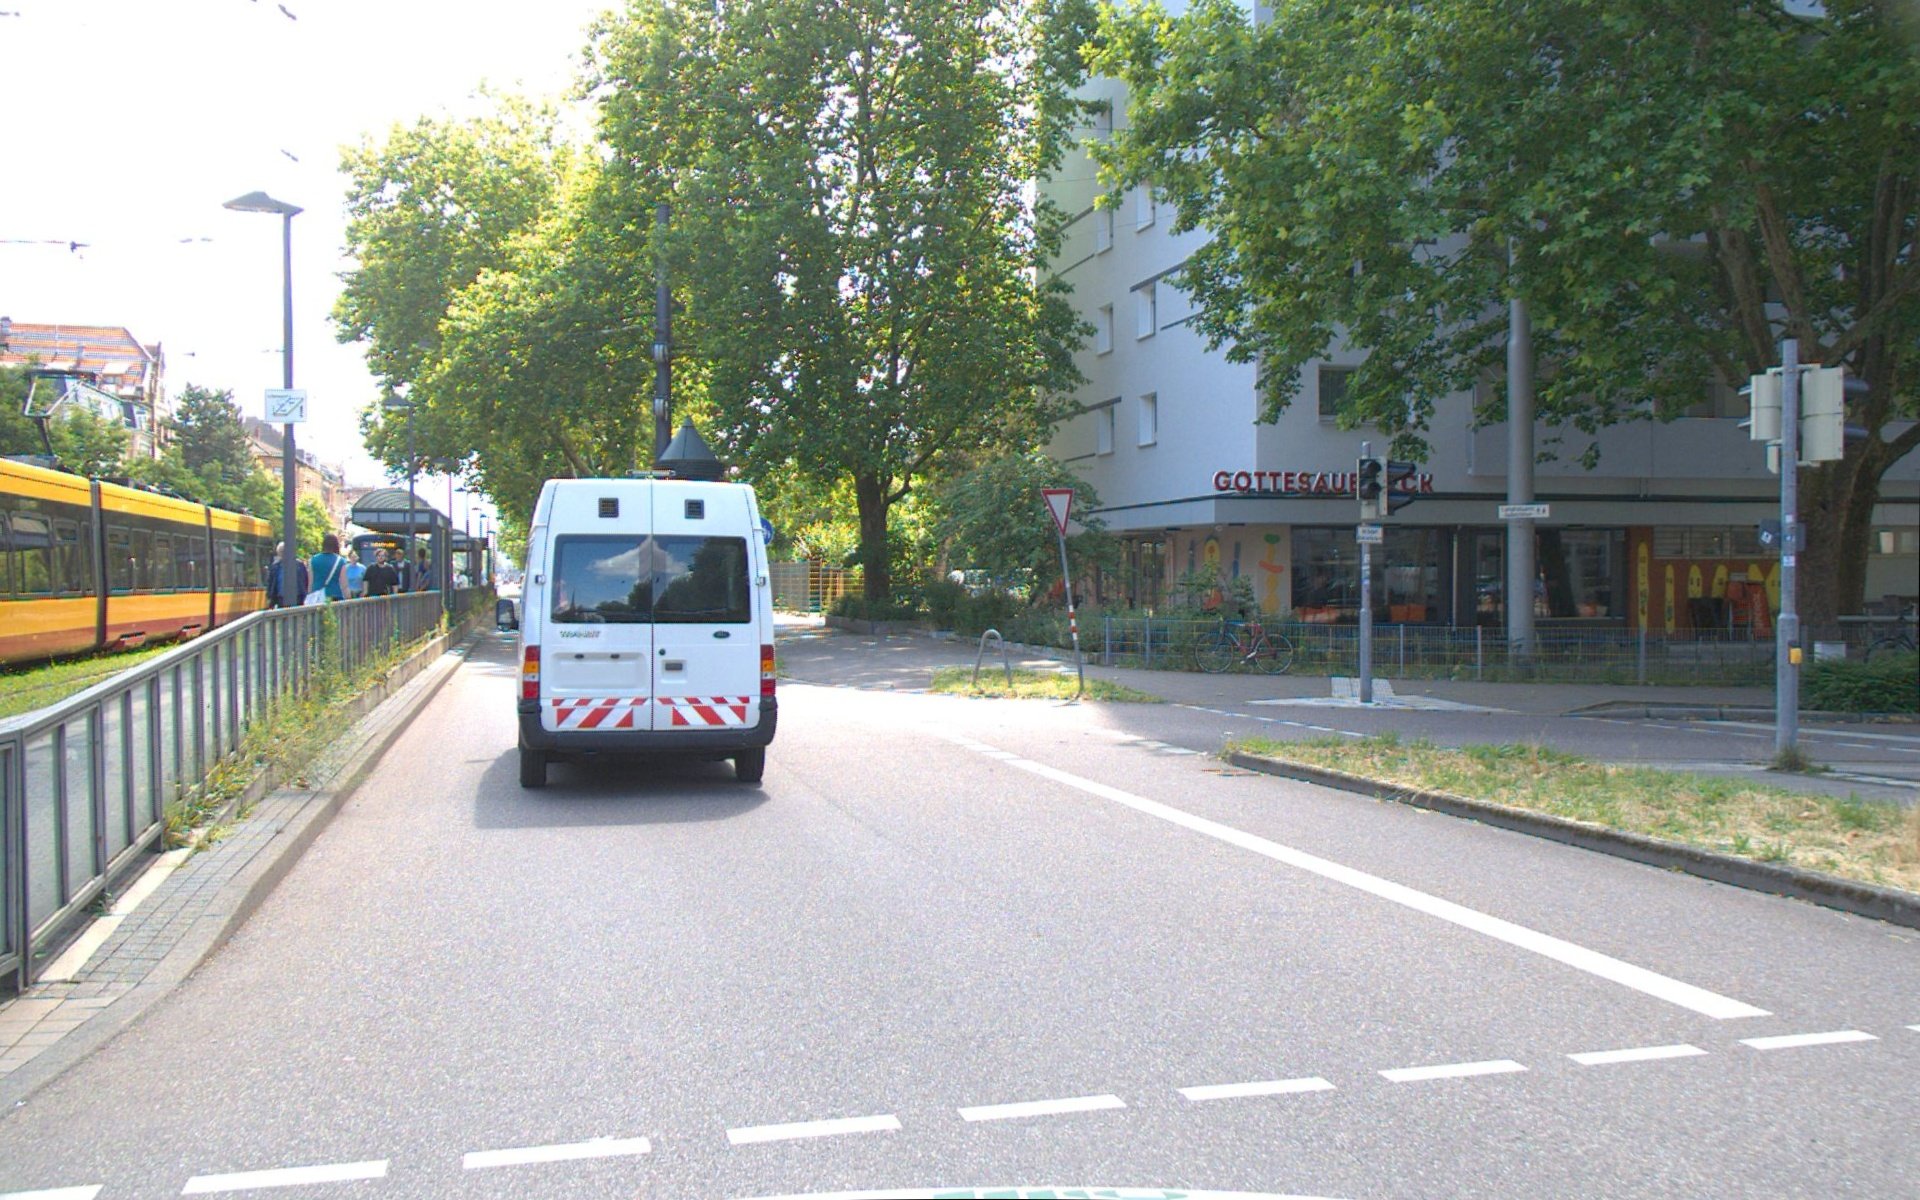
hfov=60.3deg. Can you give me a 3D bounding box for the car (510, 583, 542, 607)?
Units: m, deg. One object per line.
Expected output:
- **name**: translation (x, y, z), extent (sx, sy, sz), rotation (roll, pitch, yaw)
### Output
- **car**: translation (-28.976, -0.345, 110.367), extent (1.788, 1.518, 3.978), rotation (0, 0, -19)

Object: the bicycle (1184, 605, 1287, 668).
- **bicycle**: translation (4.608, 0.609, 27.648), extent (1.686, 1.027, 0.534), rotation (0, 1, 12)

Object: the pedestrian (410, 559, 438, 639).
- **pedestrian**: translation (-13.028, -0.035, 40.181), extent (0.467, 1.933, 0.529), rotation (-1, 1, -39)

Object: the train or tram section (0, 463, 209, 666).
- **train or tram section**: translation (-18.276, -0.695, 34.860), extent (2.749, 3.646, 10.363), rotation (0, 1, -15)

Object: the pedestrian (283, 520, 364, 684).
- **pedestrian**: translation (-7.682, 0.020, 20.007), extent (0.813, 1.932, 0.843), rotation (0, 0, -15)

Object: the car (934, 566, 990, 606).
- **car**: translation (0.053, -0.679, 79.753), extent (1.776, 1.846, 4.324), rotation (0, 1, -13)

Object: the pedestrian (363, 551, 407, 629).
- **pedestrian**: translation (-13.660, -0.244, 39.336), extent (0.872, 1.832, 1.488), rotation (0, 1, -16)

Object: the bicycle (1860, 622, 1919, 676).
- **bicycle**: translation (14.426, 0.748, 25.265), extent (1.183, 0.810, 0.298), rotation (0, 0, 2)

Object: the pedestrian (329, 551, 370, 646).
- **pedestrian**: translation (-12.235, -0.031, 33.153), extent (0.690, 1.881, 0.904), rotation (0, 0, -16)

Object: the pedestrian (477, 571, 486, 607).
- **pedestrian**: translation (-21.960, -0.506, 75.926), extent (0.379, 1.619, 0.437), rotation (-1, 1, -16)

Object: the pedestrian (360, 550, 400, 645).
- **pedestrian**: translation (-11.677, -0.054, 33.316), extent (0.690, 1.881, 0.786), rotation (0, 0, -16)

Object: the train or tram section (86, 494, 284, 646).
- **train or tram section**: translation (-21.229, -0.788, 46.162), extent (2.678, 3.646, 12.965), rotation (0, 1, -15)

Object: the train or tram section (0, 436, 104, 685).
- **train or tram section**: translation (-15.316, -0.569, 23.555), extent (2.760, 3.646, 12.965), rotation (0, 1, -15)

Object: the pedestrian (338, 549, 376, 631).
- **pedestrian**: translation (-13.640, -0.230, 37.448), extent (0.700, 1.832, 1.128), rotation (0, 1, -16)

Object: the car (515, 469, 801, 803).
- **car**: translation (-2.700, 0.210, 14.289), extent (2.012, 2.373, 4.698), rotation (-1, 1, -13)

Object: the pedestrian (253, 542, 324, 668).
- **pedestrian**: translation (-9.832, 0.060, 24.243), extent (0.843, 1.806, 0.873), rotation (0, 0, -15)

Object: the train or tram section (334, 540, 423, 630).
- **train or tram section**: translation (-25.714, -0.698, 73.684), extent (2.678, 3.646, 12.965), rotation (0, 1, -15)

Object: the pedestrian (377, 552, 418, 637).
- **pedestrian**: translation (-12.865, -0.131, 37.853), extent (0.797, 1.905, 1.026), rotation (0, 1, -16)

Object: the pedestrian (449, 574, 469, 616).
- **pedestrian**: translation (-18.663, -0.197, 61.645), extent (0.665, 1.542, 0.593), rotation (-1, 1, -16)
